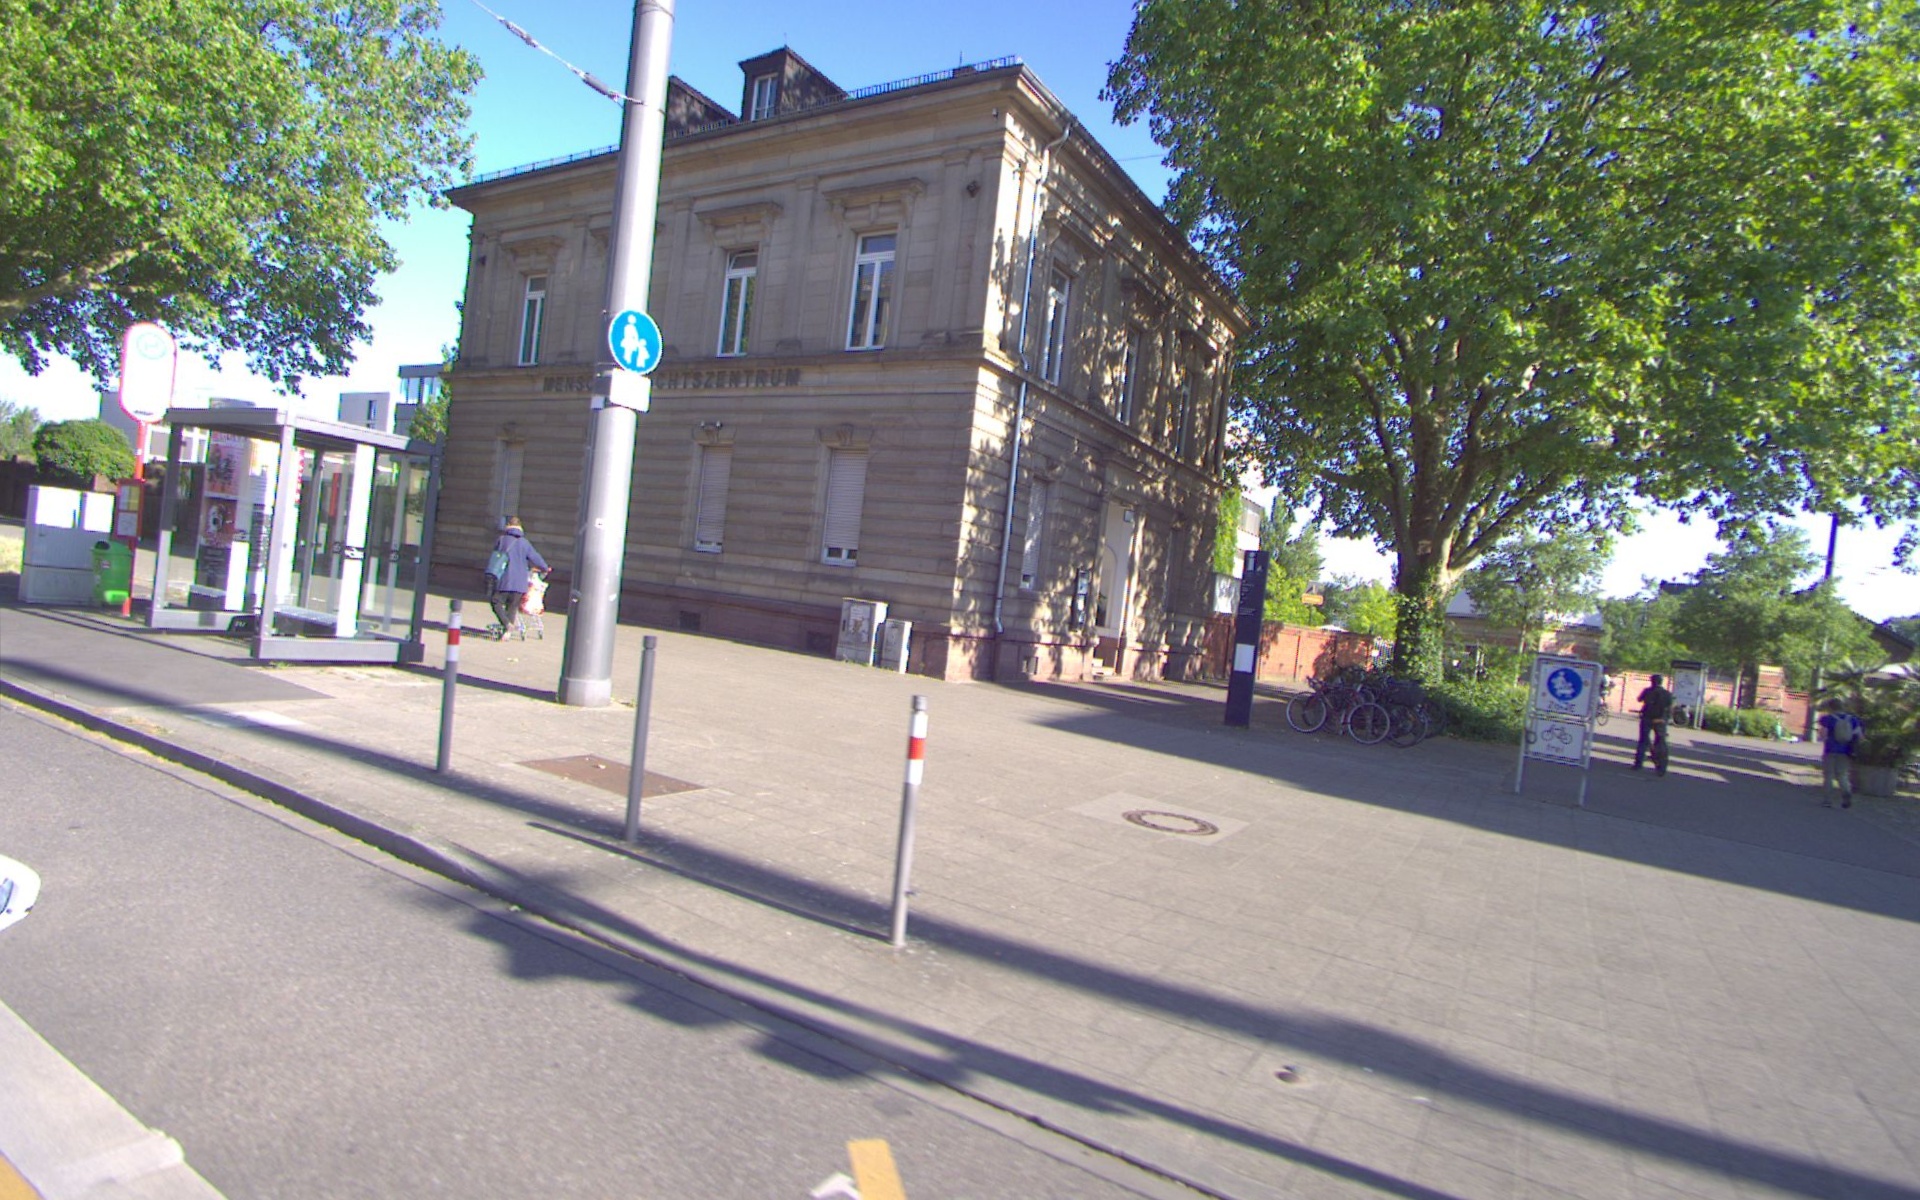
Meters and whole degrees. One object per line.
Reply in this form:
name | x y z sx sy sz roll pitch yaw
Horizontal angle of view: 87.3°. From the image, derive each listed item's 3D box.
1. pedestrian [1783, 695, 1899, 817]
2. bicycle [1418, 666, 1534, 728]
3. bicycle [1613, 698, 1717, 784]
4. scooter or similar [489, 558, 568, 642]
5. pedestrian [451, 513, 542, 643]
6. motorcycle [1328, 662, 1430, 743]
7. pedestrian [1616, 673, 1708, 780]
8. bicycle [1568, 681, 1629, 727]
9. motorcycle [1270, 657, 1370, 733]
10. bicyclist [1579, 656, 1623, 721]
pedestrian | 15.003 2.634 17.169 1.018 1.812 0.998 7 3 21
bicycle | 13.913 2.604 27.189 2.623 1.294 0.781 6 0 28
bicycle | 13.034 2.564 18.698 0.767 1.294 2.670 7 -1 20
scooter or similar | -6.504 0.001 15.177 0.746 1.171 0.719 7 3 26
pedestrian | -6.724 -0.310 14.609 0.782 1.768 0.770 7 3 26
motorcycle | 7.040 1.714 16.815 0.874 1.173 2.218 7 -1 39
pedestrian | 13.104 2.341 18.814 1.018 1.768 0.998 7 2 21
bicycle | 21.581 3.494 34.071 0.767 1.294 2.671 7 -1 13
motorcycle | 6.147 1.617 17.097 0.874 1.116 2.075 7 -1 39
bicyclist | 21.622 2.969 33.944 0.766 2.038 0.990 7 0 14
